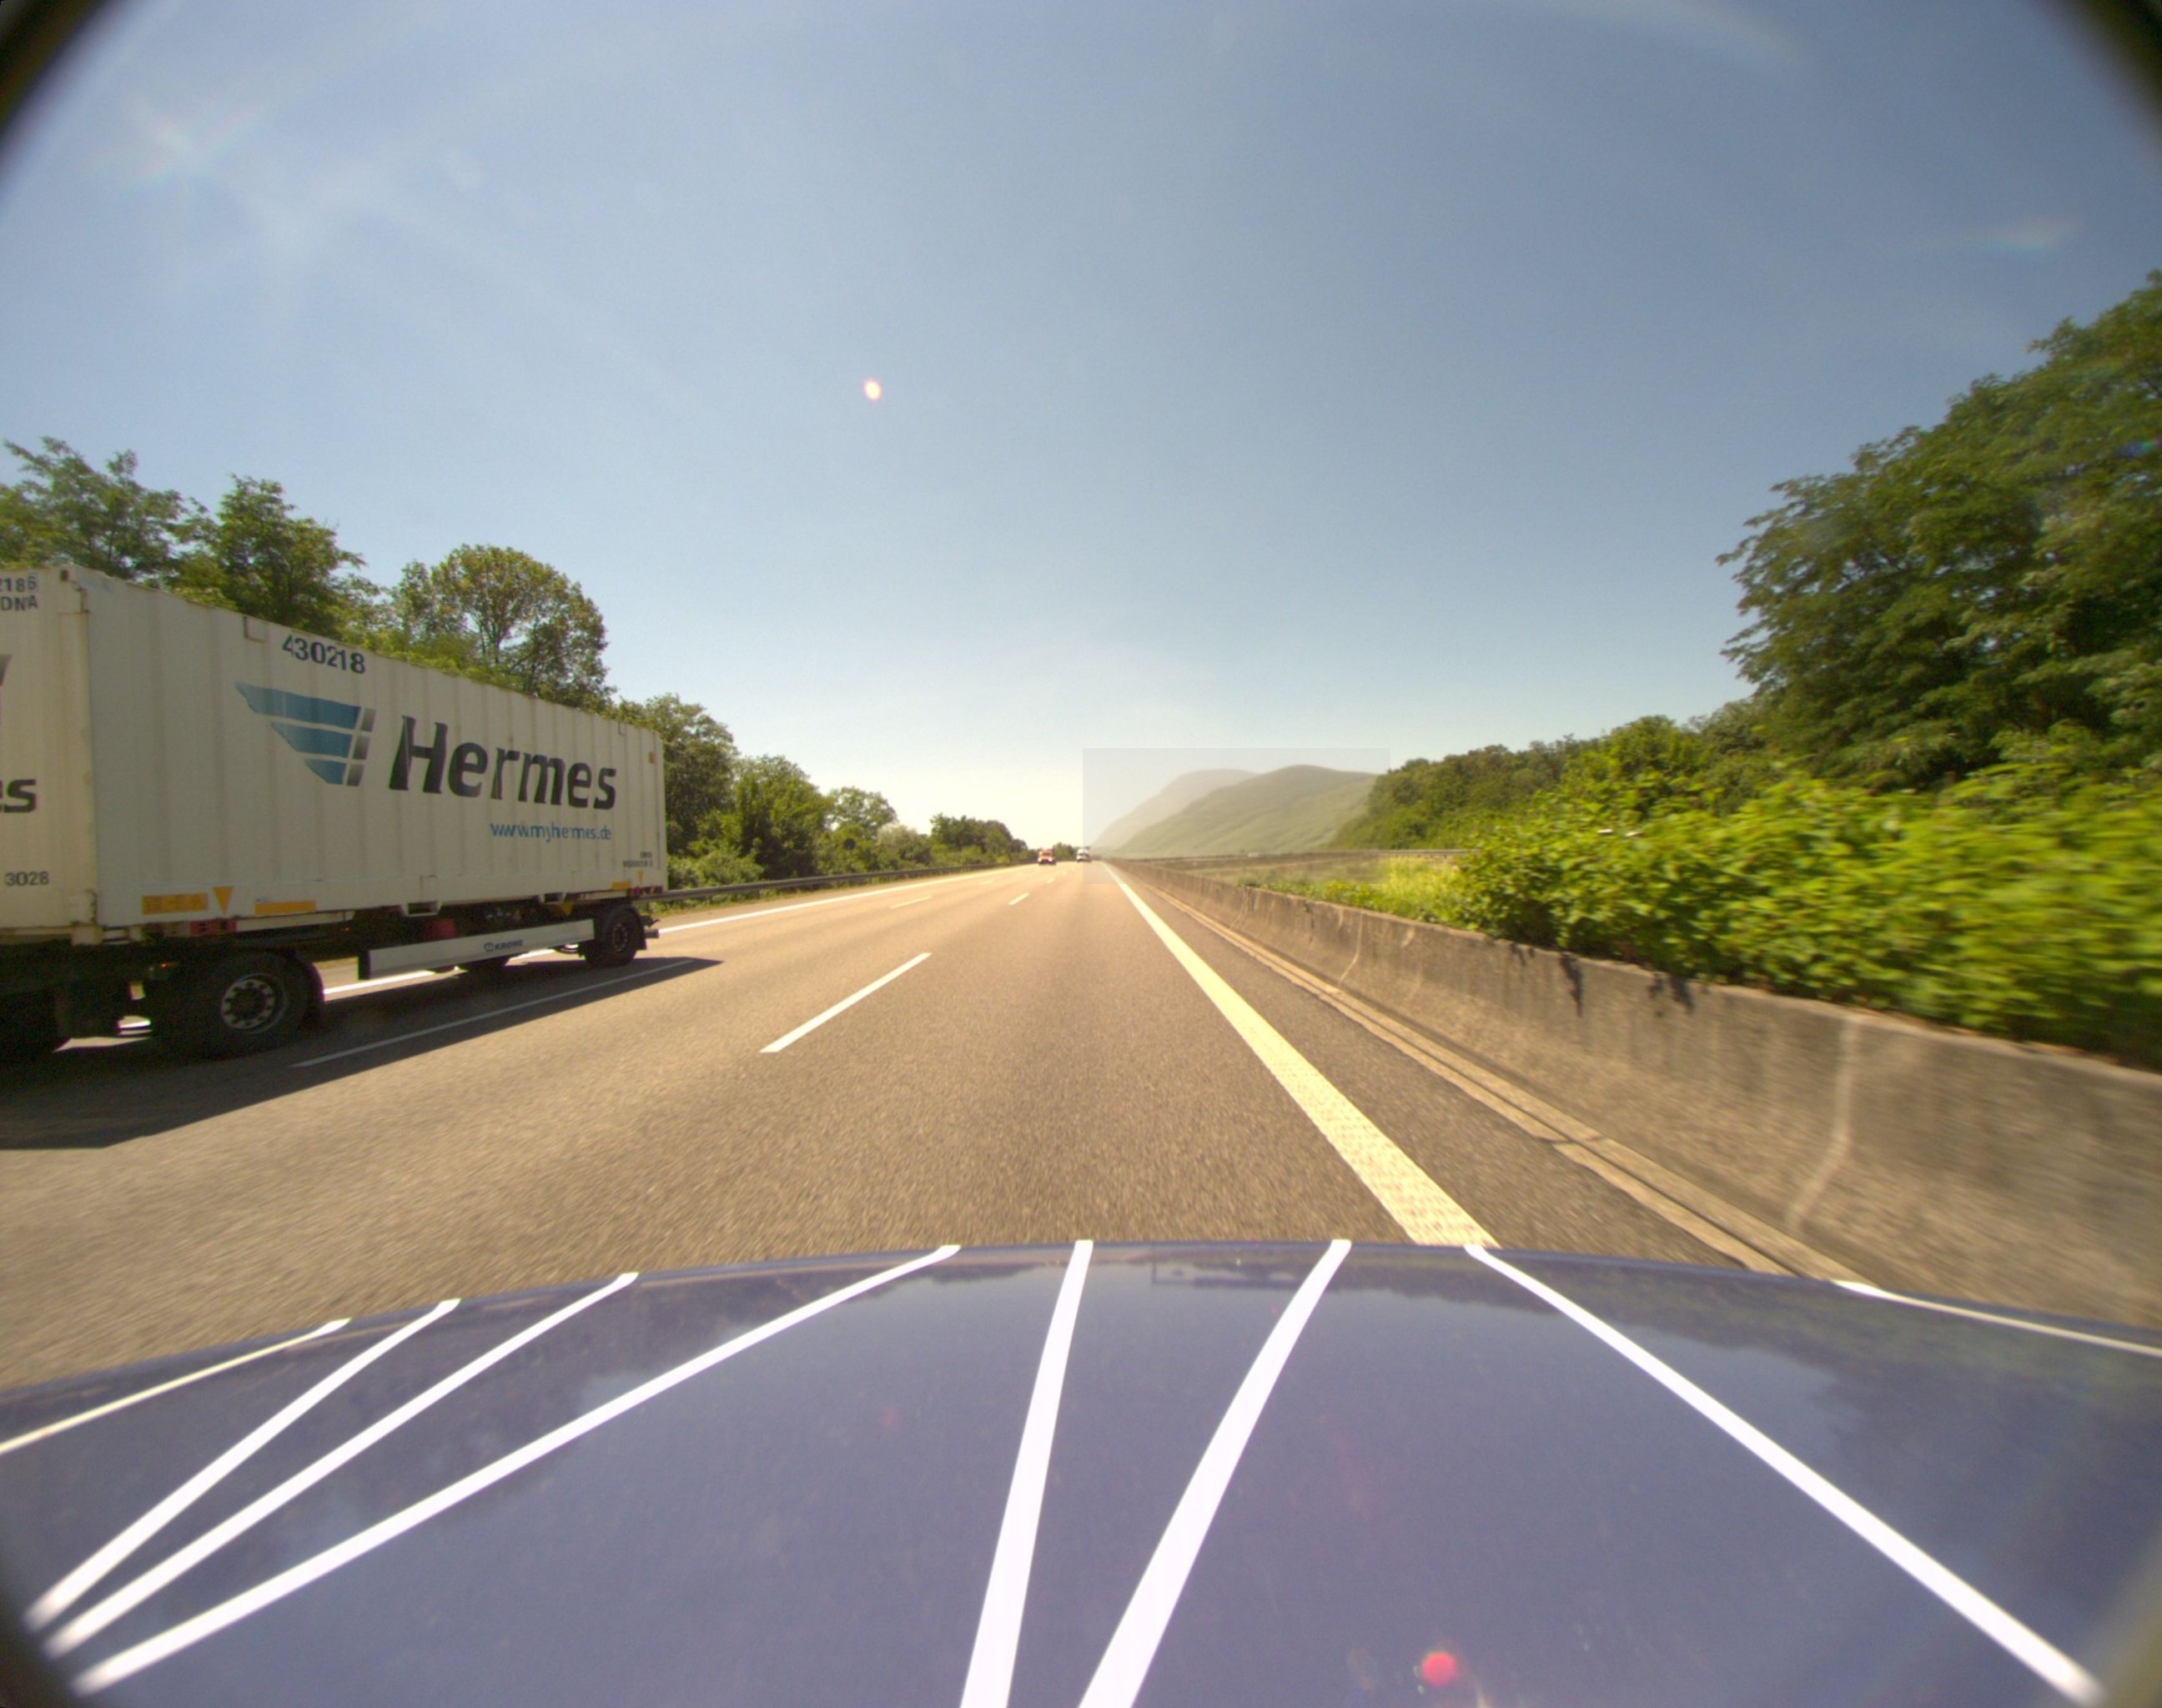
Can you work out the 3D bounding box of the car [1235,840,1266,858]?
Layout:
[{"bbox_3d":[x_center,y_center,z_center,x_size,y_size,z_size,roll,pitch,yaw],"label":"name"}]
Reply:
[{"bbox_3d":[14.781,-0.447,66.517,1.701,1.466,4.719,-2,1,1],"label":"car"}]

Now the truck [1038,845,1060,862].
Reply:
[{"bbox_3d":[-5.070,-0.106,121.557,2.436,2.426,10.010,-2,1,3],"label":"truck"}]

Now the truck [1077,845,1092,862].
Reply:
[{"bbox_3d":[0.813,-0.108,158.545,2.859,3.163,10.711,-2,0,1],"label":"truck"}]

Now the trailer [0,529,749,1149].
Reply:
[{"bbox_3d":[-8.244,-0.114,9.917,2.561,4.036,11.262,-2,1,1],"label":"trailer"}]

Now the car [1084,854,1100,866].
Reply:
[{"bbox_3d":[1.394,0.757,95.469,1.800,1.390,4.834,-2,0,3],"label":"car"}]

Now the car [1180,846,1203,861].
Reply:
[{"bbox_3d":[10.723,-0.076,74.038,1.702,1.374,3.643,-2,1,1],"label":"car"}]

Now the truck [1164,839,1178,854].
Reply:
[{"bbox_3d":[27.414,-2.254,232.127,3.185,4.206,14.498,-2,0,3],"label":"truck"}]

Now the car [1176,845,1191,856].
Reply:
[{"bbox_3d":[15.342,-0.516,114.111,1.639,1.565,4.000,-2,0,0],"label":"car"}]

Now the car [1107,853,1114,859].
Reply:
[{"bbox_3d":[8.582,0.572,218.092,1.879,1.630,4.000,-2,0,1],"label":"car"}]

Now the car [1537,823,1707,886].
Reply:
[{"bbox_3d":[16.347,-0.011,23.323,1.818,1.676,4.761,-2,0,1],"label":"car"}]

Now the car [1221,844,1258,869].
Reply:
[{"bbox_3d":[10.174,0.157,49.056,1.570,1.477,4.000,-2,0,1],"label":"car"}]
